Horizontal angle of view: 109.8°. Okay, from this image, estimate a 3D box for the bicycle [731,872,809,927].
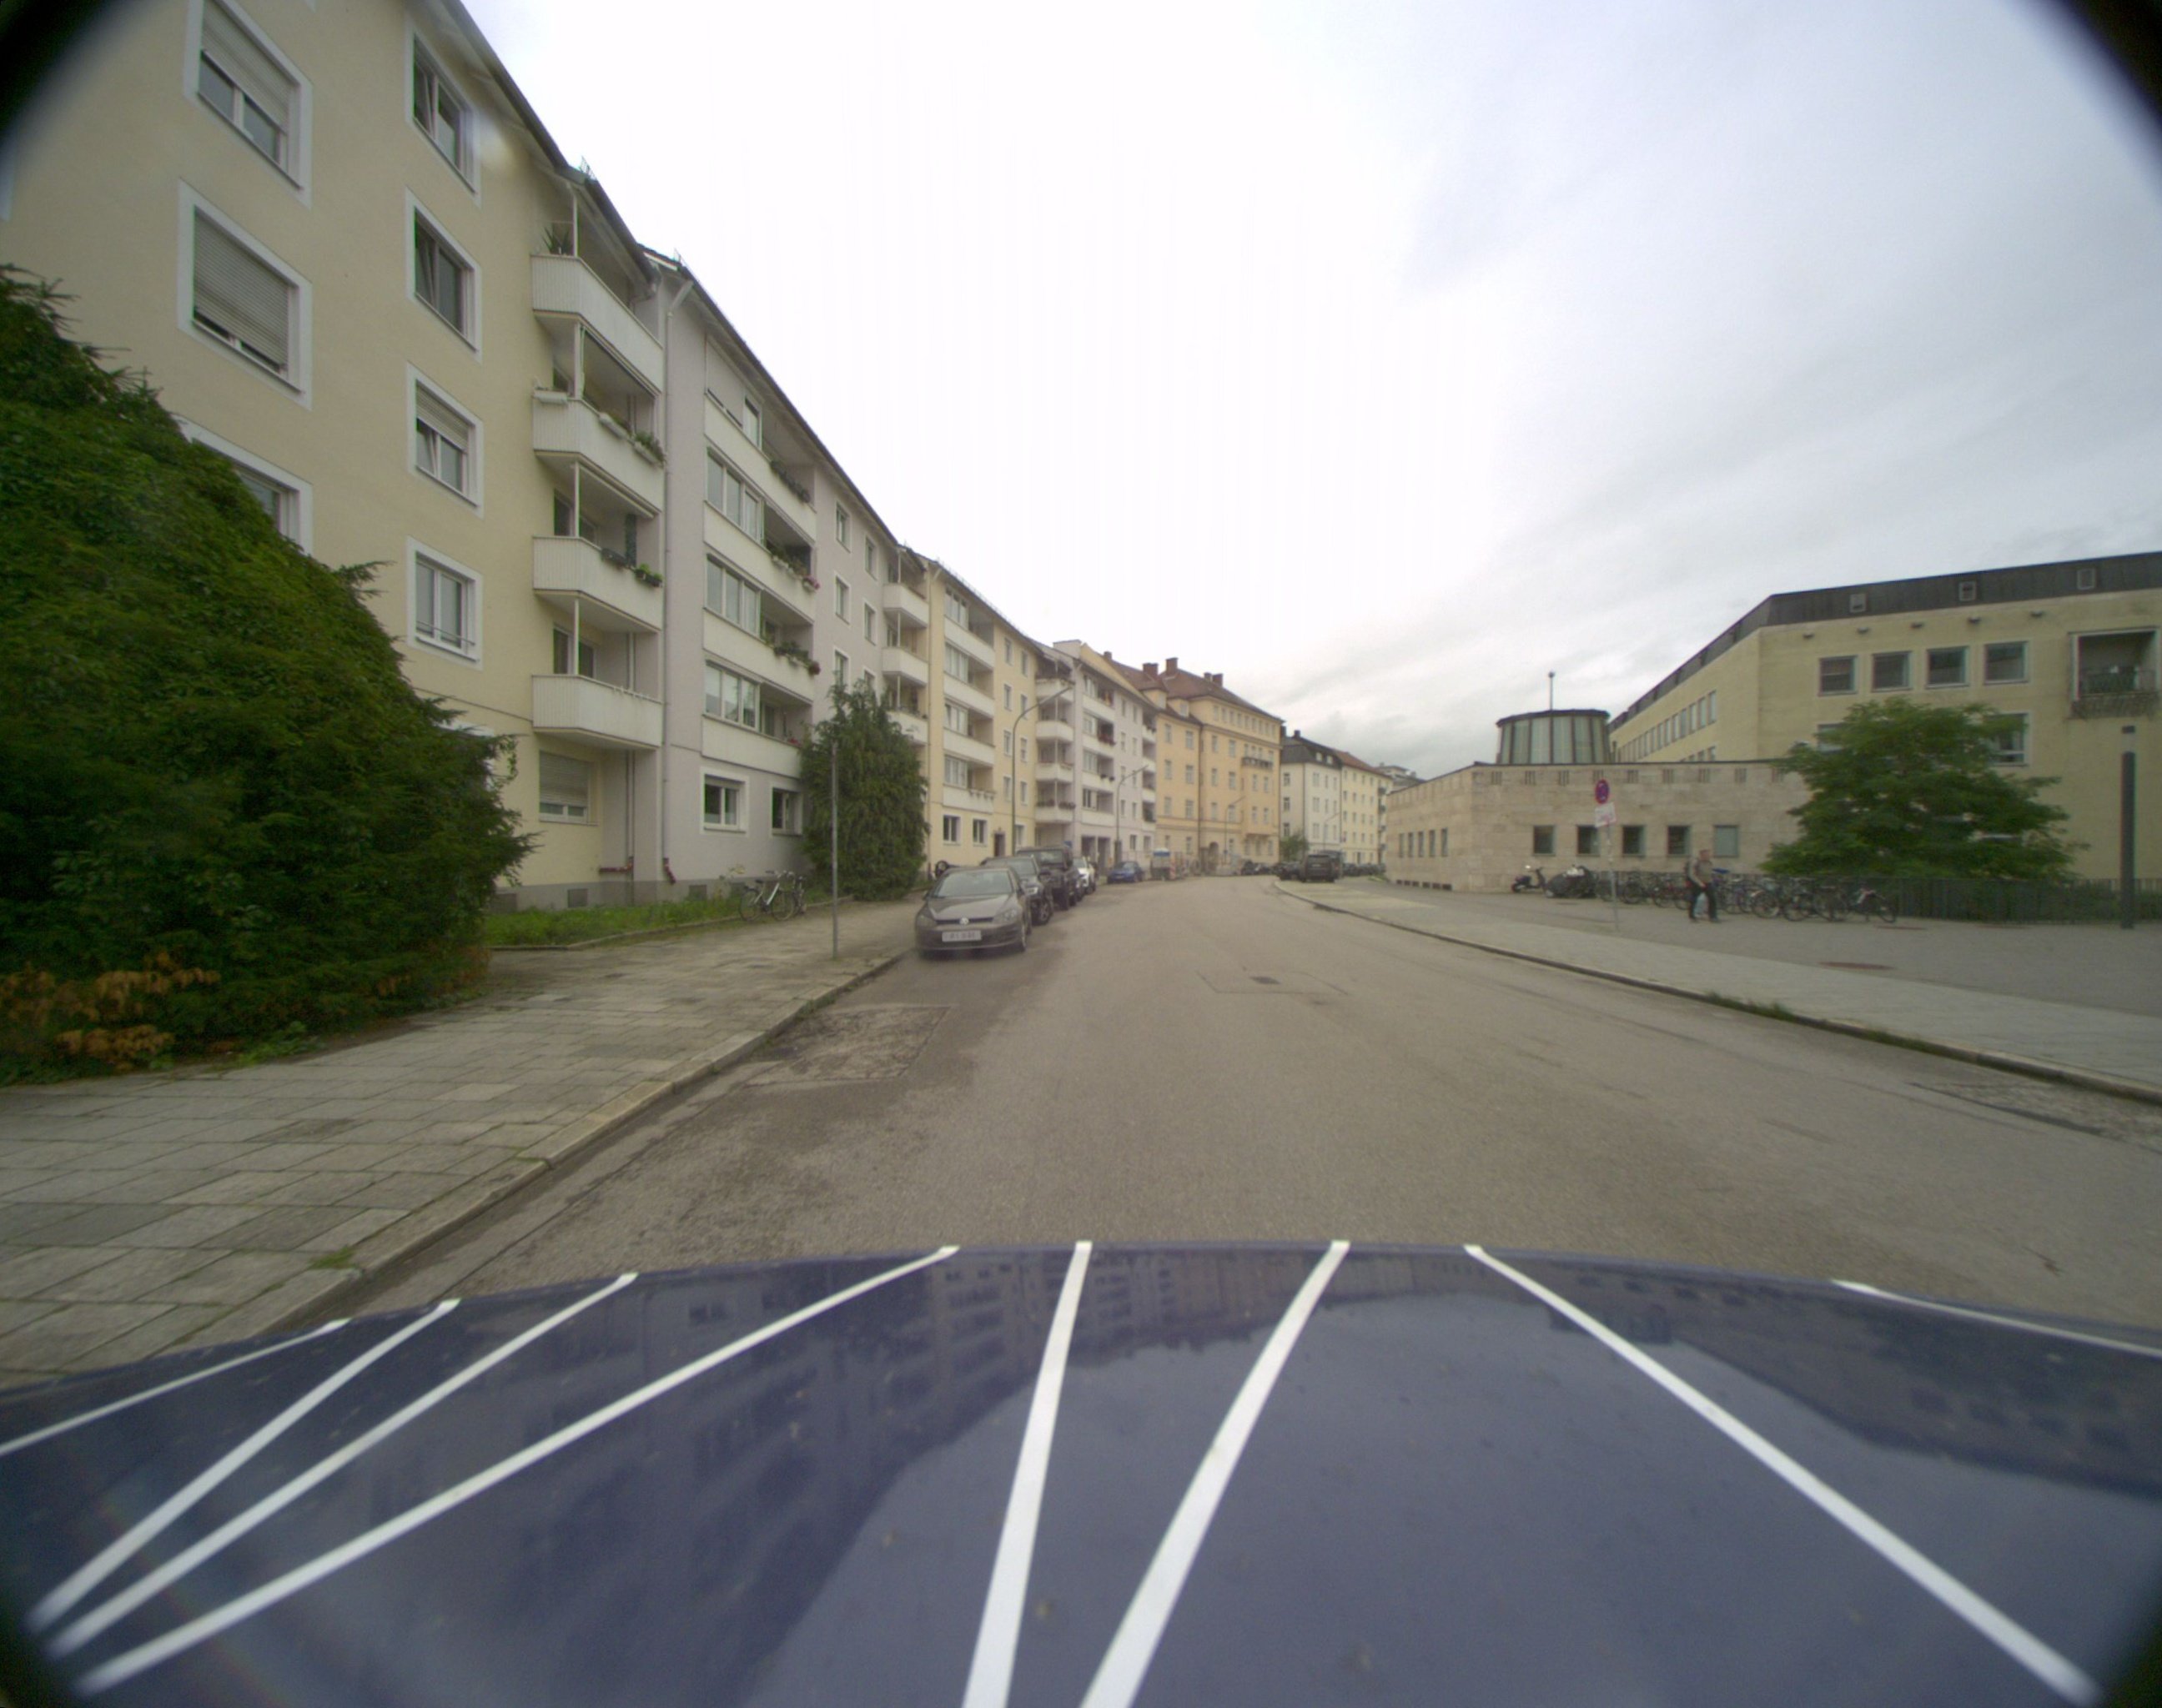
[{"bbox_3d":[-6.851,0.965,16.846,0.467,1.111,1.946,1,0,16],"label":"bicycle"}]

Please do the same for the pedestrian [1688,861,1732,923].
[{"bbox_3d":[16.575,0.994,20.031,0.645,1.591,0.605,-1,0,-21],"label":"pedestrian"}]

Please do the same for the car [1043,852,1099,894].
[{"bbox_3d":[-0.374,0.817,33.687,2.030,1.668,4.615,-1,-1,5],"label":"car"}]

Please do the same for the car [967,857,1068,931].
[{"bbox_3d":[-1.438,0.883,18.888,1.662,1.556,4.516,-1,0,5],"label":"car"}]

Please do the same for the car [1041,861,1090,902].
[{"bbox_3d":[-0.546,0.999,28.975,1.662,1.341,3.804,-1,1,1],"label":"car"}]

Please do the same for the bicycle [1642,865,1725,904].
[{"bbox_3d":[18.214,0.921,22.997,2.051,1.104,0.617,-1,0,-3],"label":"bicycle"}]

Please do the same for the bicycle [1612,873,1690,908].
[{"bbox_3d":[19.252,1.230,25.690,2.049,1.104,0.617,-2,0,8],"label":"bicycle"}]

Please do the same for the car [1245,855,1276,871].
[{"bbox_3d":[19.632,0.952,83.082,1.837,1.719,3.738,-2,-1,39],"label":"car"}]

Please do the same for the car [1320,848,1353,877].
[{"bbox_3d":[24.355,0.772,72.208,2.145,2.559,6.223,2,1,25],"label":"car"}]

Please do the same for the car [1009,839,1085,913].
[{"bbox_3d":[-0.967,0.669,23.844,1.751,2.069,4.518,-1,-1,5],"label":"car"}]

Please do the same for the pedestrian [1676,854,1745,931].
[{"bbox_3d":[15.193,0.906,18.360,0.789,1.772,1.014,-1,1,-7],"label":"pedestrian"}]

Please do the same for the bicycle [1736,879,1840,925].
[{"bbox_3d":[18.170,1.221,19.552,2.050,1.104,0.617,-1,0,1],"label":"bicycle"}]

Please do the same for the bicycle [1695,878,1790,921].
[{"bbox_3d":[18.444,1.258,21.209,2.050,1.104,0.617,-1,0,1],"label":"bicycle"}]

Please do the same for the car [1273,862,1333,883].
[{"bbox_3d":[16.954,1.396,57.971,4.009,1.365,1.747,2,2,-14],"label":"car"}]

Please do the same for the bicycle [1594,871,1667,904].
[{"bbox_3d":[19.609,1.189,27.130,2.050,1.104,0.617,-2,0,5],"label":"bicycle"}]

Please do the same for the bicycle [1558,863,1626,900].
[{"bbox_3d":[19.402,1.038,28.863,2.102,1.343,0.614,-1,0,4],"label":"bicycle"}]

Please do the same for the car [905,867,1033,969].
[{"bbox_3d":[-1.841,1.014,13.680,1.759,1.388,4.043,-2,1,-1],"label":"car"}]

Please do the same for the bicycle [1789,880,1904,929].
[{"bbox_3d":[18.216,1.192,18.108,2.050,1.104,0.617,-1,0,1],"label":"bicycle"}]

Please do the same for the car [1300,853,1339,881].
[{"bbox_3d":[15.323,0.815,49.074,1.996,1.761,4.820,0,0,13],"label":"car"}]

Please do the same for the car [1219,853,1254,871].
[{"bbox_3d":[16.189,0.814,78.962,1.837,1.788,4.247,-2,-1,37],"label":"car"}]

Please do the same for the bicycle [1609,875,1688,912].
[{"bbox_3d":[18.006,1.238,24.121,2.051,1.104,0.617,-1,0,-3],"label":"bicycle"}]

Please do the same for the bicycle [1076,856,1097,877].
[{"bbox_3d":[0.392,0.820,50.814,0.811,1.315,2.778,2,1,12],"label":"bicycle"}]

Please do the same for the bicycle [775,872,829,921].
[{"bbox_3d":[-6.953,1.031,19.000,0.468,1.111,1.945,1,0,5],"label":"bicycle"}]

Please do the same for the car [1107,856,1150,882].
[{"bbox_3d":[3.085,0.974,48.848,1.833,1.433,4.634,-5,-2,14],"label":"car"}]

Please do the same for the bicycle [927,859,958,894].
[{"bbox_3d":[-5.792,0.911,31.884,0.744,1.359,2.471,3,0,1],"label":"bicycle"}]

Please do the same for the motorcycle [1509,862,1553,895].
[{"bbox_3d":[19.734,1.079,33.356,1.567,1.397,0.515,-2,0,6],"label":"motorcycle"}]
